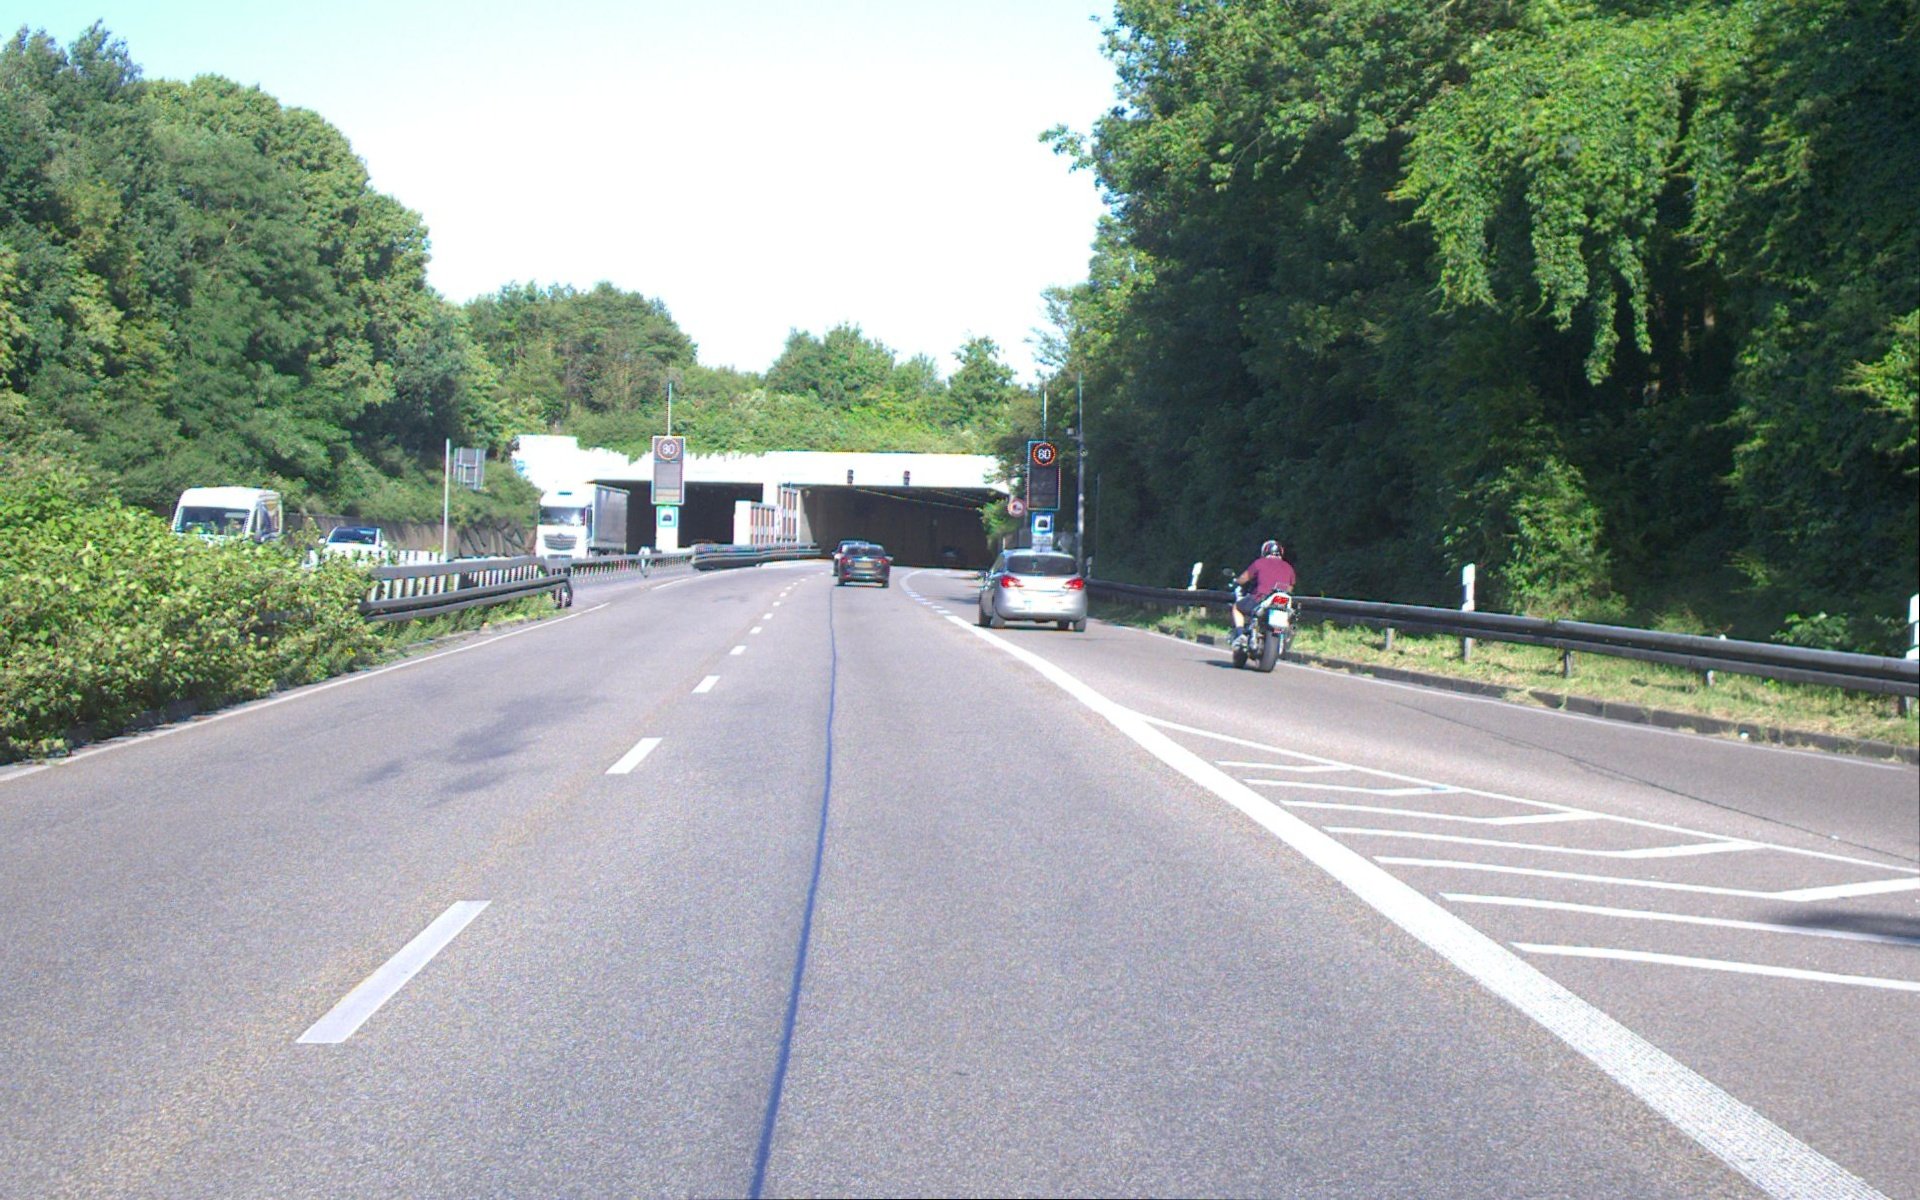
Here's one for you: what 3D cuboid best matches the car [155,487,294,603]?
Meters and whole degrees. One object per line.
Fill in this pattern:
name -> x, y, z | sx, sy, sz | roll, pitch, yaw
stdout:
car -> -17.800, -1.382, 83.458 | 2.147, 2.602, 6.053 | 3, 2, -2

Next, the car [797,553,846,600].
car -> -6.103, -1.052, 151.691 | 1.993, 1.919, 4.000 | 2, 1, -1

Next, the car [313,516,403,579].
car -> -18.514, -1.638, 105.863 | 1.993, 1.776, 4.786 | 3, 2, -2

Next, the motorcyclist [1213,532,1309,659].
motorcyclist -> 3.714, -0.060, 42.533 | 0.883, 1.496, 1.063 | 3, 2, -8

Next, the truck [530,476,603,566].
truck -> -19.652, -3.976, 171.939 | 2.735, 4.246, 6.388 | 3, 2, 0

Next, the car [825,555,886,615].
car -> -3.606, -0.542, 119.587 | 1.993, 1.919, 4.000 | 2, 1, -1

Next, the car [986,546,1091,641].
car -> 1.410, -0.149, 63.028 | 1.667, 1.546, 4.001 | 3, 2, -1

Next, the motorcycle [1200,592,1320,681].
motorcycle -> 3.687, 0.433, 42.555 | 0.858, 0.988, 2.729 | 3, 1, -8
